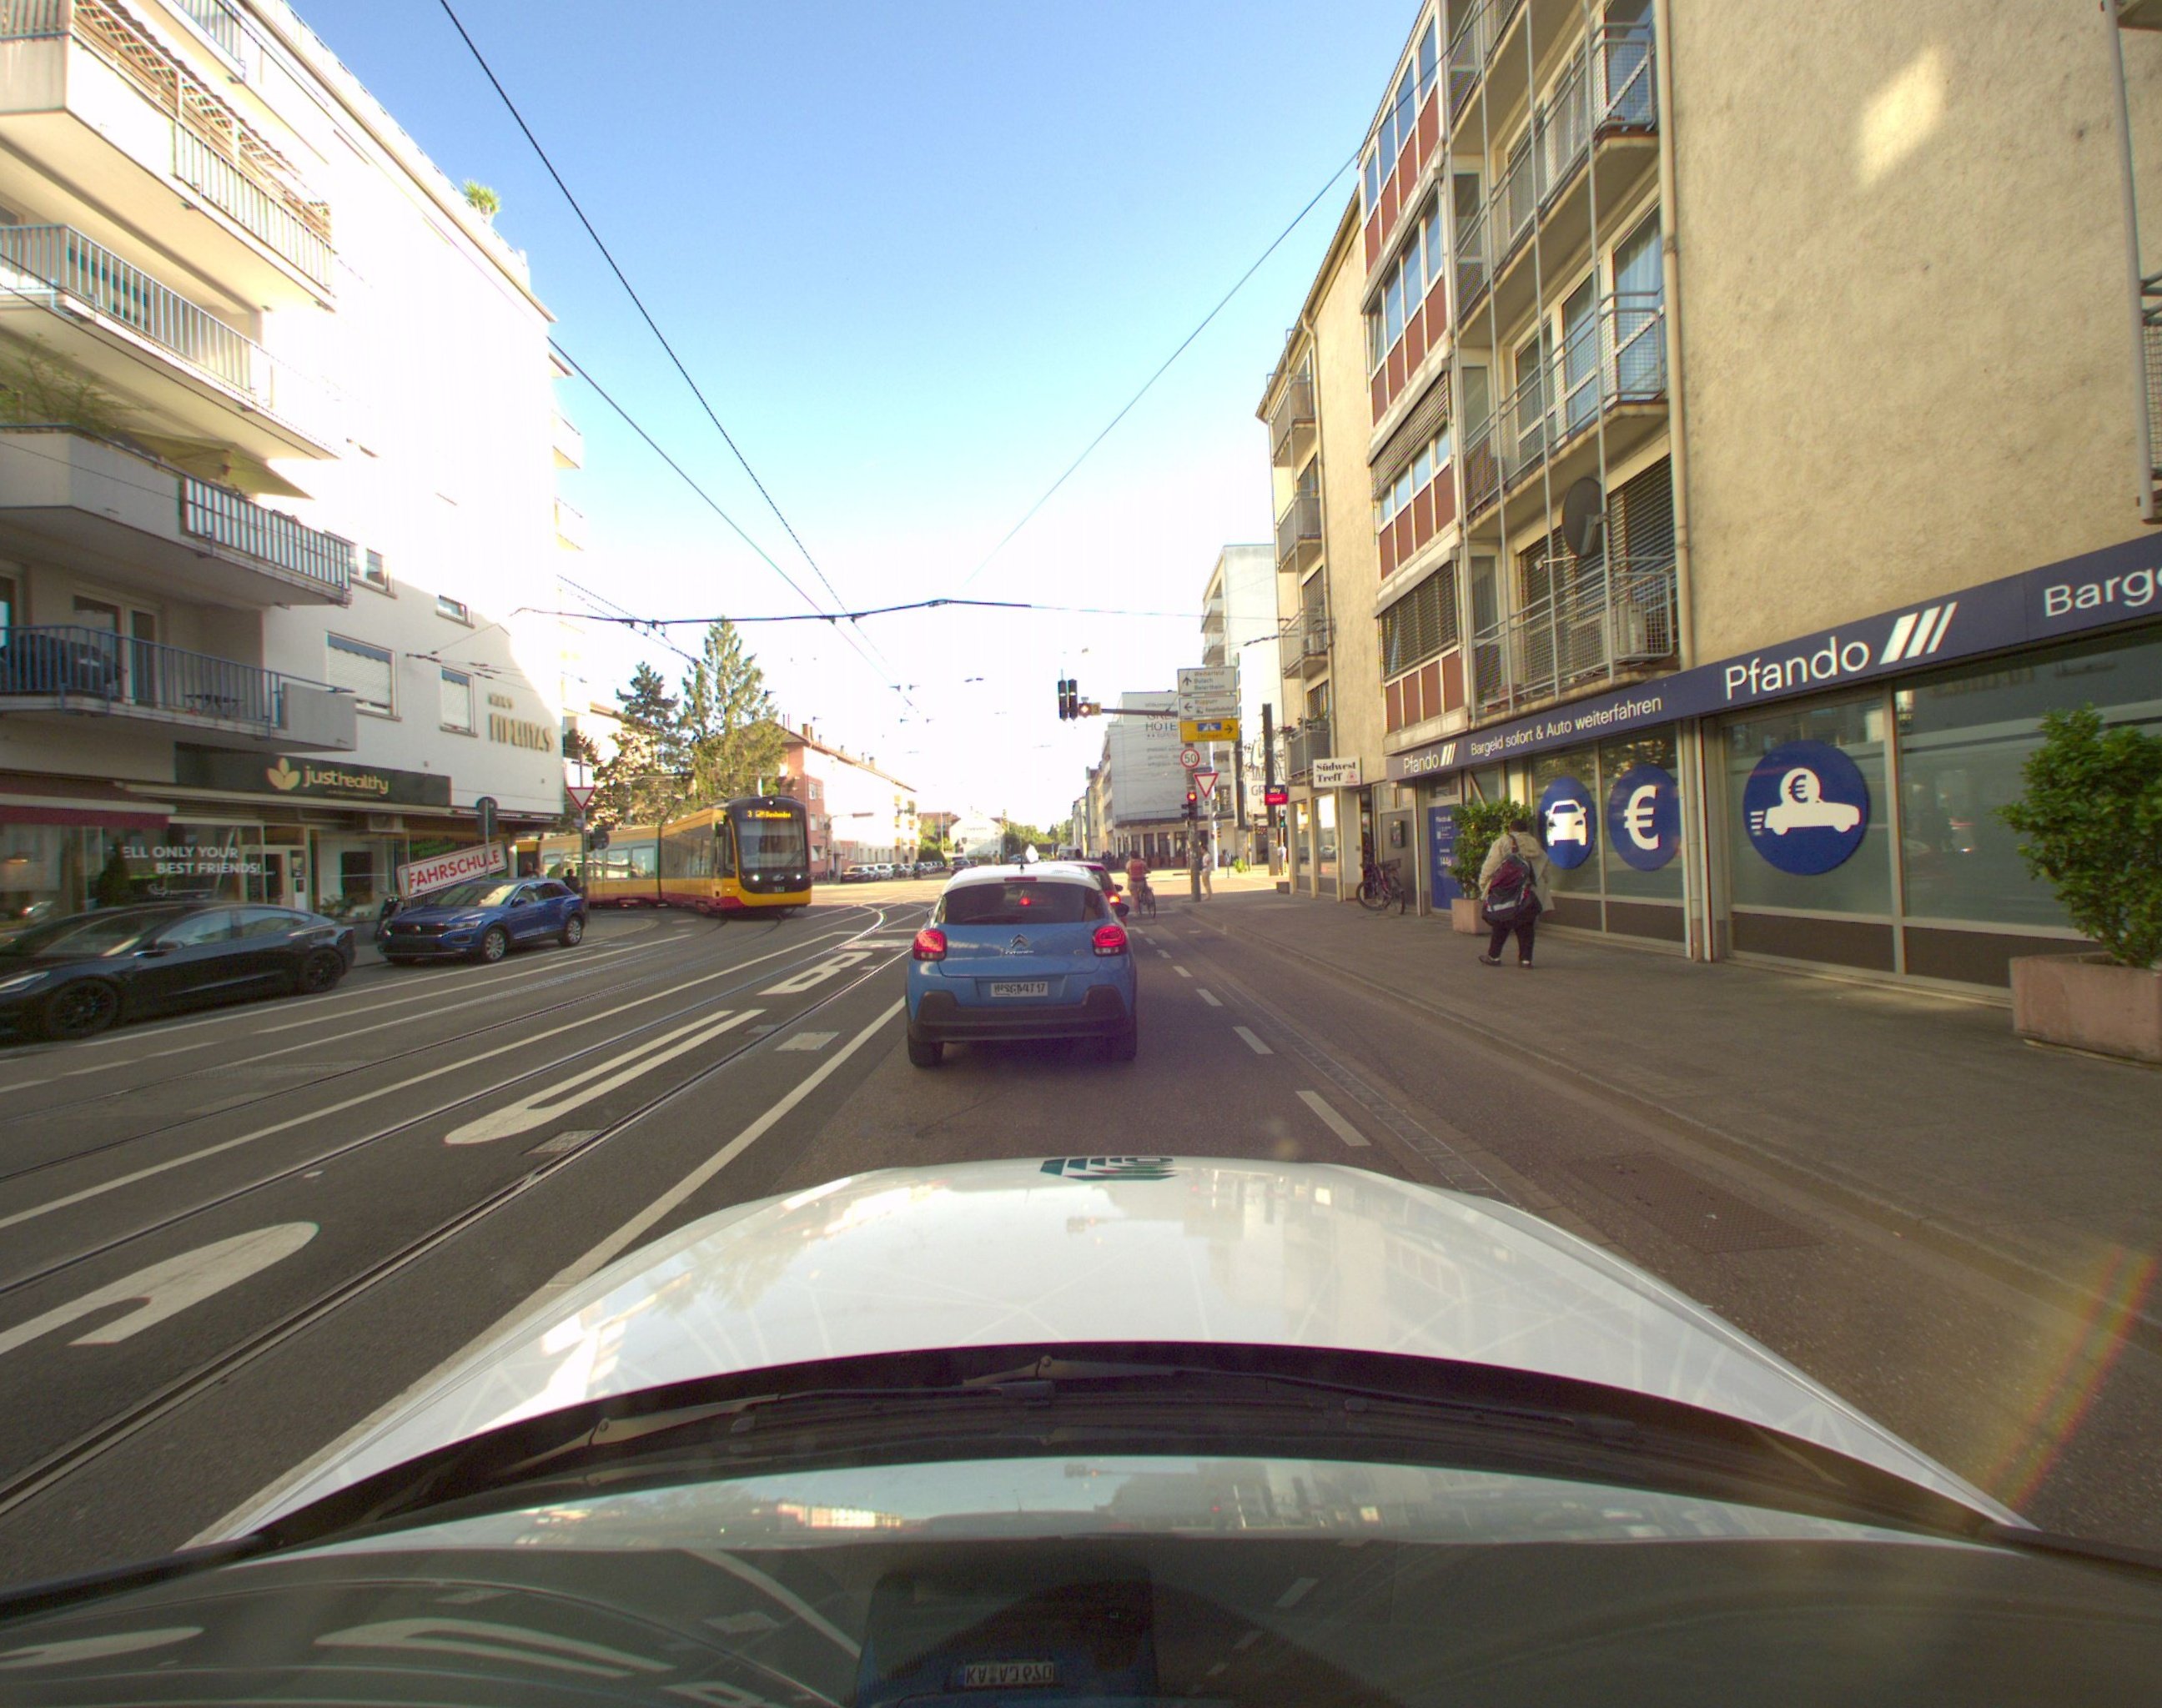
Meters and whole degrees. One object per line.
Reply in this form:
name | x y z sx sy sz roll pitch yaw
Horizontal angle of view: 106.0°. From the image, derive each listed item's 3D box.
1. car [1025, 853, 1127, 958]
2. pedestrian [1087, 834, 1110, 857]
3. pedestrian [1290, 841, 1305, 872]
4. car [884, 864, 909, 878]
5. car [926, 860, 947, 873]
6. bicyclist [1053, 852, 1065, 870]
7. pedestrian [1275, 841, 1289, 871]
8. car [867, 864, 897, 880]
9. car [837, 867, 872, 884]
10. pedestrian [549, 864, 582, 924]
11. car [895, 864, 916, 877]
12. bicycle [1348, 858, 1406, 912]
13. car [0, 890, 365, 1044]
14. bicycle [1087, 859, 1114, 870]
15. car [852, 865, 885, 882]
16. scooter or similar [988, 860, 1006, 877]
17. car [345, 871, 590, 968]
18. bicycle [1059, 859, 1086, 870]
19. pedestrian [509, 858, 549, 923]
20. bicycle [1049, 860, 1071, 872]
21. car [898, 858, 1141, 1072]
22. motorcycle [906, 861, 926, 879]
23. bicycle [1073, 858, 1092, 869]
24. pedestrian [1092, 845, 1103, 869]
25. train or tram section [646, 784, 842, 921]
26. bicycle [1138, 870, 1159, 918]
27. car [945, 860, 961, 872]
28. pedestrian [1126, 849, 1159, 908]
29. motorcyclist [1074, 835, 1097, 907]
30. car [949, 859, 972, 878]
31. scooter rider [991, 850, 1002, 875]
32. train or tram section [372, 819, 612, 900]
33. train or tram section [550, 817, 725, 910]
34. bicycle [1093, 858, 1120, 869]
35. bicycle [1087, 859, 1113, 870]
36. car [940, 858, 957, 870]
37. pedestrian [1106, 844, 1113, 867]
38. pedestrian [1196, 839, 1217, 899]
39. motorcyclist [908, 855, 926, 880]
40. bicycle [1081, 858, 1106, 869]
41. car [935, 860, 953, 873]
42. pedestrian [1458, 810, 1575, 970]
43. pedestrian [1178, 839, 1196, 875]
car | -0.028 0.761 13.261 1.419 1.467 2.925 -2 -1 2
pedestrian | 1.636 -0.726 73.687 1.986 2.014 4.001 0 -1 2
pedestrian | 11.820 0.136 44.495 0.747 1.657 0.886 -1 -1 12
car | -19.600 1.778 86.679 1.781 1.498 3.998 0 -1 -1
car | -18.923 1.672 106.814 1.978 1.687 3.998 0 -1 -1
bicyclist | -1.781 0.562 65.142 0.738 1.477 0.566 -1 -1 30
pedestrian | 10.927 0.105 44.270 0.730 1.601 0.751 -1 -1 15
car | -19.431 1.737 79.639 1.781 1.511 4.150 0 -1 1
car | -19.232 1.809 69.430 1.787 1.421 3.996 0 -1 1
pedestrian | -15.853 1.219 25.066 0.569 1.805 0.699 0 -1 1
car | -19.955 1.845 92.674 1.728 1.498 3.996 0 -1 -2
bicycle | 5.696 0.572 15.766 0.540 0.998 1.706 0 -1 2
car | -12.027 1.288 10.443 1.816 1.387 4.425 -2 0 -2
bicycle | 1.615 0.868 67.253 2.130 0.901 0.366 0 -1 -7
car | -19.306 1.779 74.195 1.808 1.498 4.302 0 -1 2
scooter or similar | -6.084 1.057 58.978 1.349 1.269 0.442 0 -1 -8
car | -11.975 1.188 16.318 1.864 1.531 4.068 -2 0 -2
bicycle | -0.705 0.878 66.390 2.130 0.901 0.366 0 -1 -7
pedestrian | -17.328 1.134 25.577 0.767 2.014 0.694 0 -1 -4
bicycle | -1.712 0.975 65.078 1.835 0.903 0.352 -1 -1 31
car | -0.362 0.771 7.307 1.648 1.444 3.524 0 -1 2
motorcycle | -13.638 1.291 67.482 0.921 1.486 3.724 0 -1 -1
bicycle | 0.099 0.824 69.558 1.765 0.901 0.369 -1 -1 36
pedestrian | 1.390 0.291 69.286 0.635 2.014 0.717 0 -1 -34
train or tram section | -11.765 0.086 27.246 3.086 3.594 12.490 -2 -1 -36
bicycle | 1.702 0.975 20.591 0.426 1.123 1.999 0 -1 2
car | -19.196 1.761 121.924 1.841 1.687 3.872 0 -1 -1
pedestrian | 1.519 0.602 20.316 0.774 1.460 0.682 0 -1 1
motorcyclist | 0.121 0.402 19.746 0.524 1.716 0.717 0 -1 2
car | -11.341 1.340 76.840 1.770 1.666 3.854 0 -1 -2
scooter rider | -6.126 0.616 58.990 0.721 1.832 0.716 -3 -1 -7
train or tram section | -29.651 0.309 40.701 14.092 3.632 2.769 -1 -1 23
train or tram section | -19.360 0.406 35.307 8.966 3.631 2.852 -1 -1 34
bicycle | 2.045 0.769 66.058 2.130 0.901 0.366 0 -1 -7
bicycle | 1.563 0.908 67.669 2.130 0.901 0.366 0 -1 -7
car | -19.008 1.459 117.281 1.828 1.687 3.998 0 -1 -1
pedestrian | 2.480 0.144 70.206 0.575 2.014 0.625 0 -1 -1
pedestrian | 3.747 0.441 24.359 0.515 1.783 0.595 0 -1 0
motorcyclist | -13.653 1.108 67.783 1.182 2.013 1.275 -2 0 -1
bicycle | 1.060 0.821 68.442 2.130 0.901 0.366 0 -1 -7
car | -18.831 1.677 111.843 1.877 1.687 3.998 0 -1 -1
pedestrian | 4.531 0.362 8.530 0.822 1.593 0.751 0 -1 1
pedestrian | 6.079 0.173 46.870 0.922 2.014 0.760 0 -1 1
